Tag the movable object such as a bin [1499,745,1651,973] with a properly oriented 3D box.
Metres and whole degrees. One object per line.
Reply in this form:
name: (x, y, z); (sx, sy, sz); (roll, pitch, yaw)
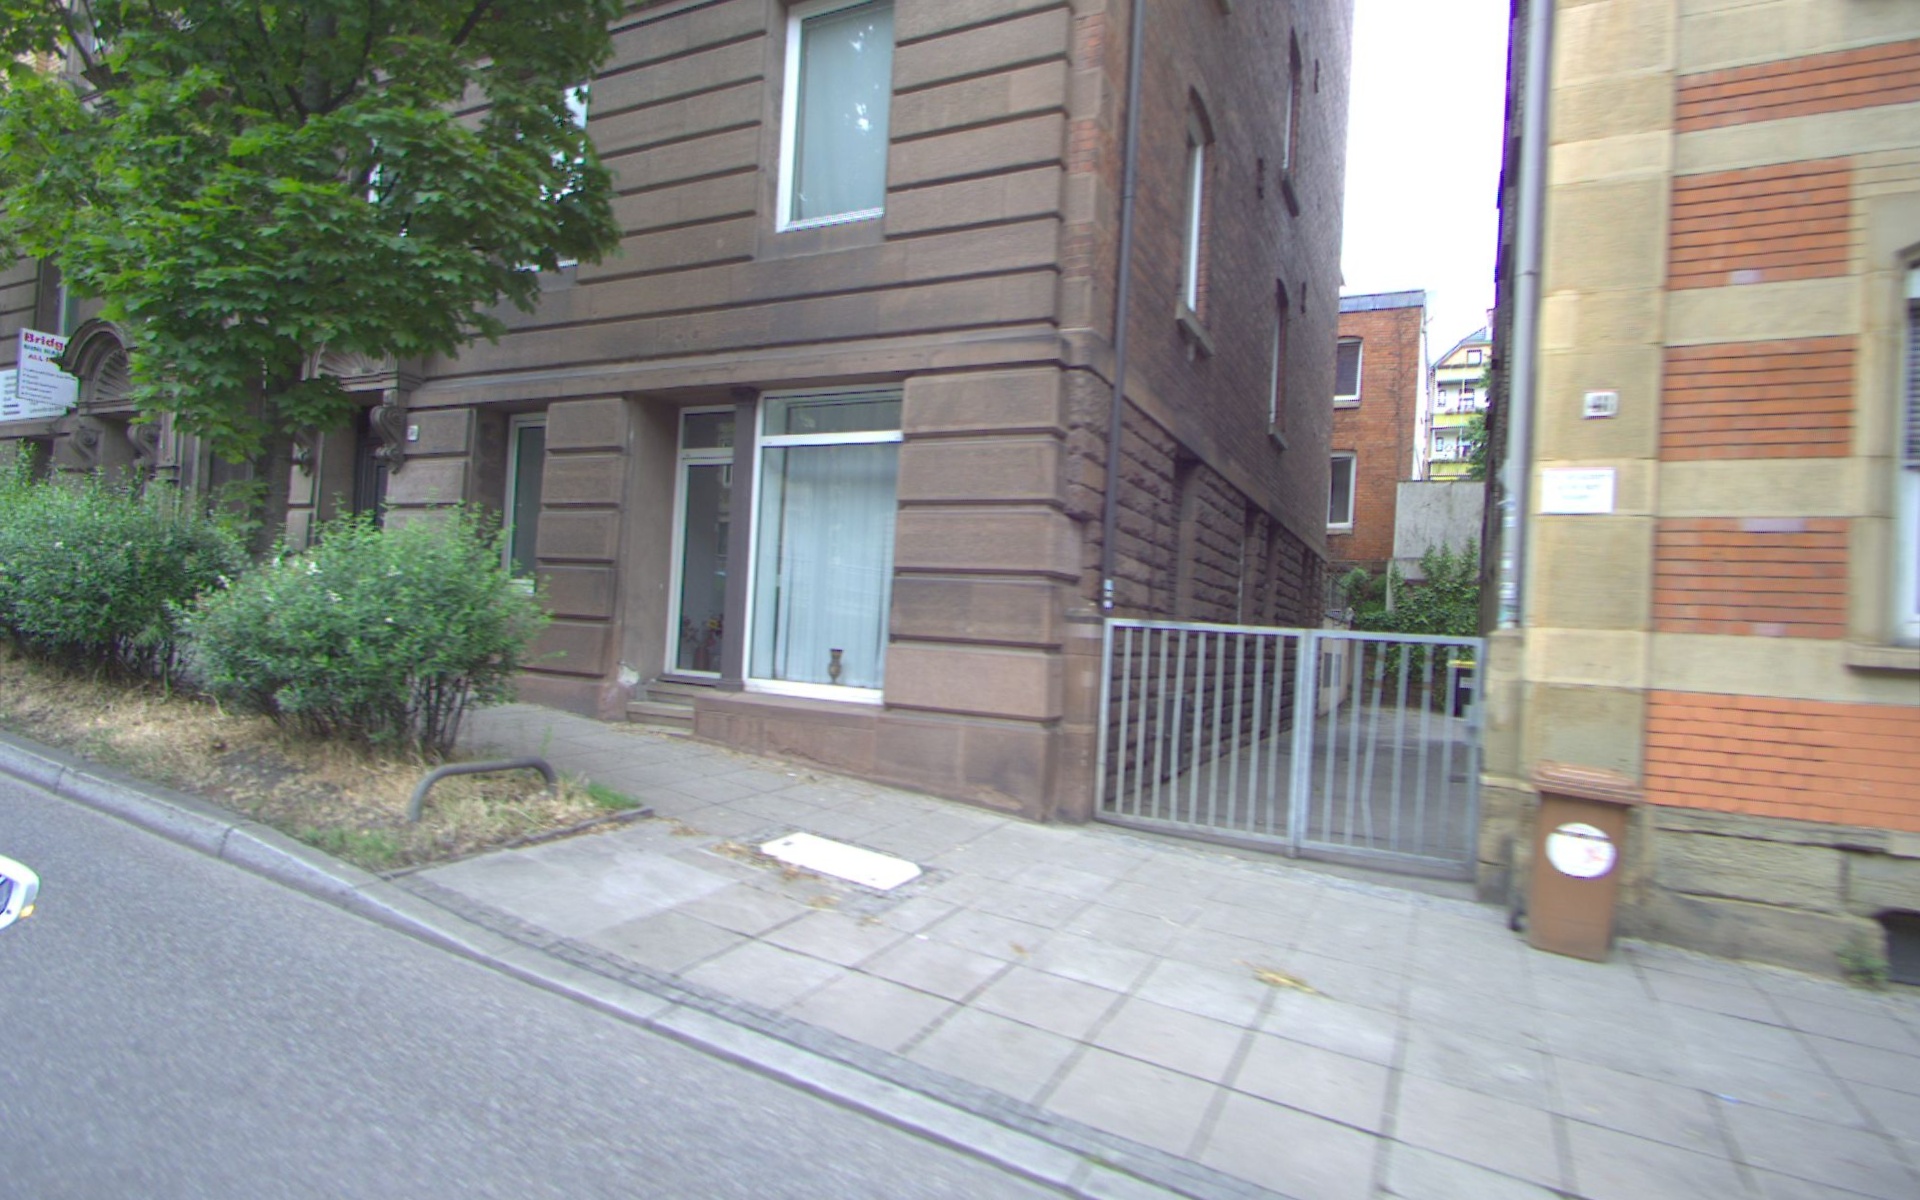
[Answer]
movable object such as a bin: (3.138, 1.284, 5.174); (0.530, 0.954, 0.672); (7, 1, 30)
